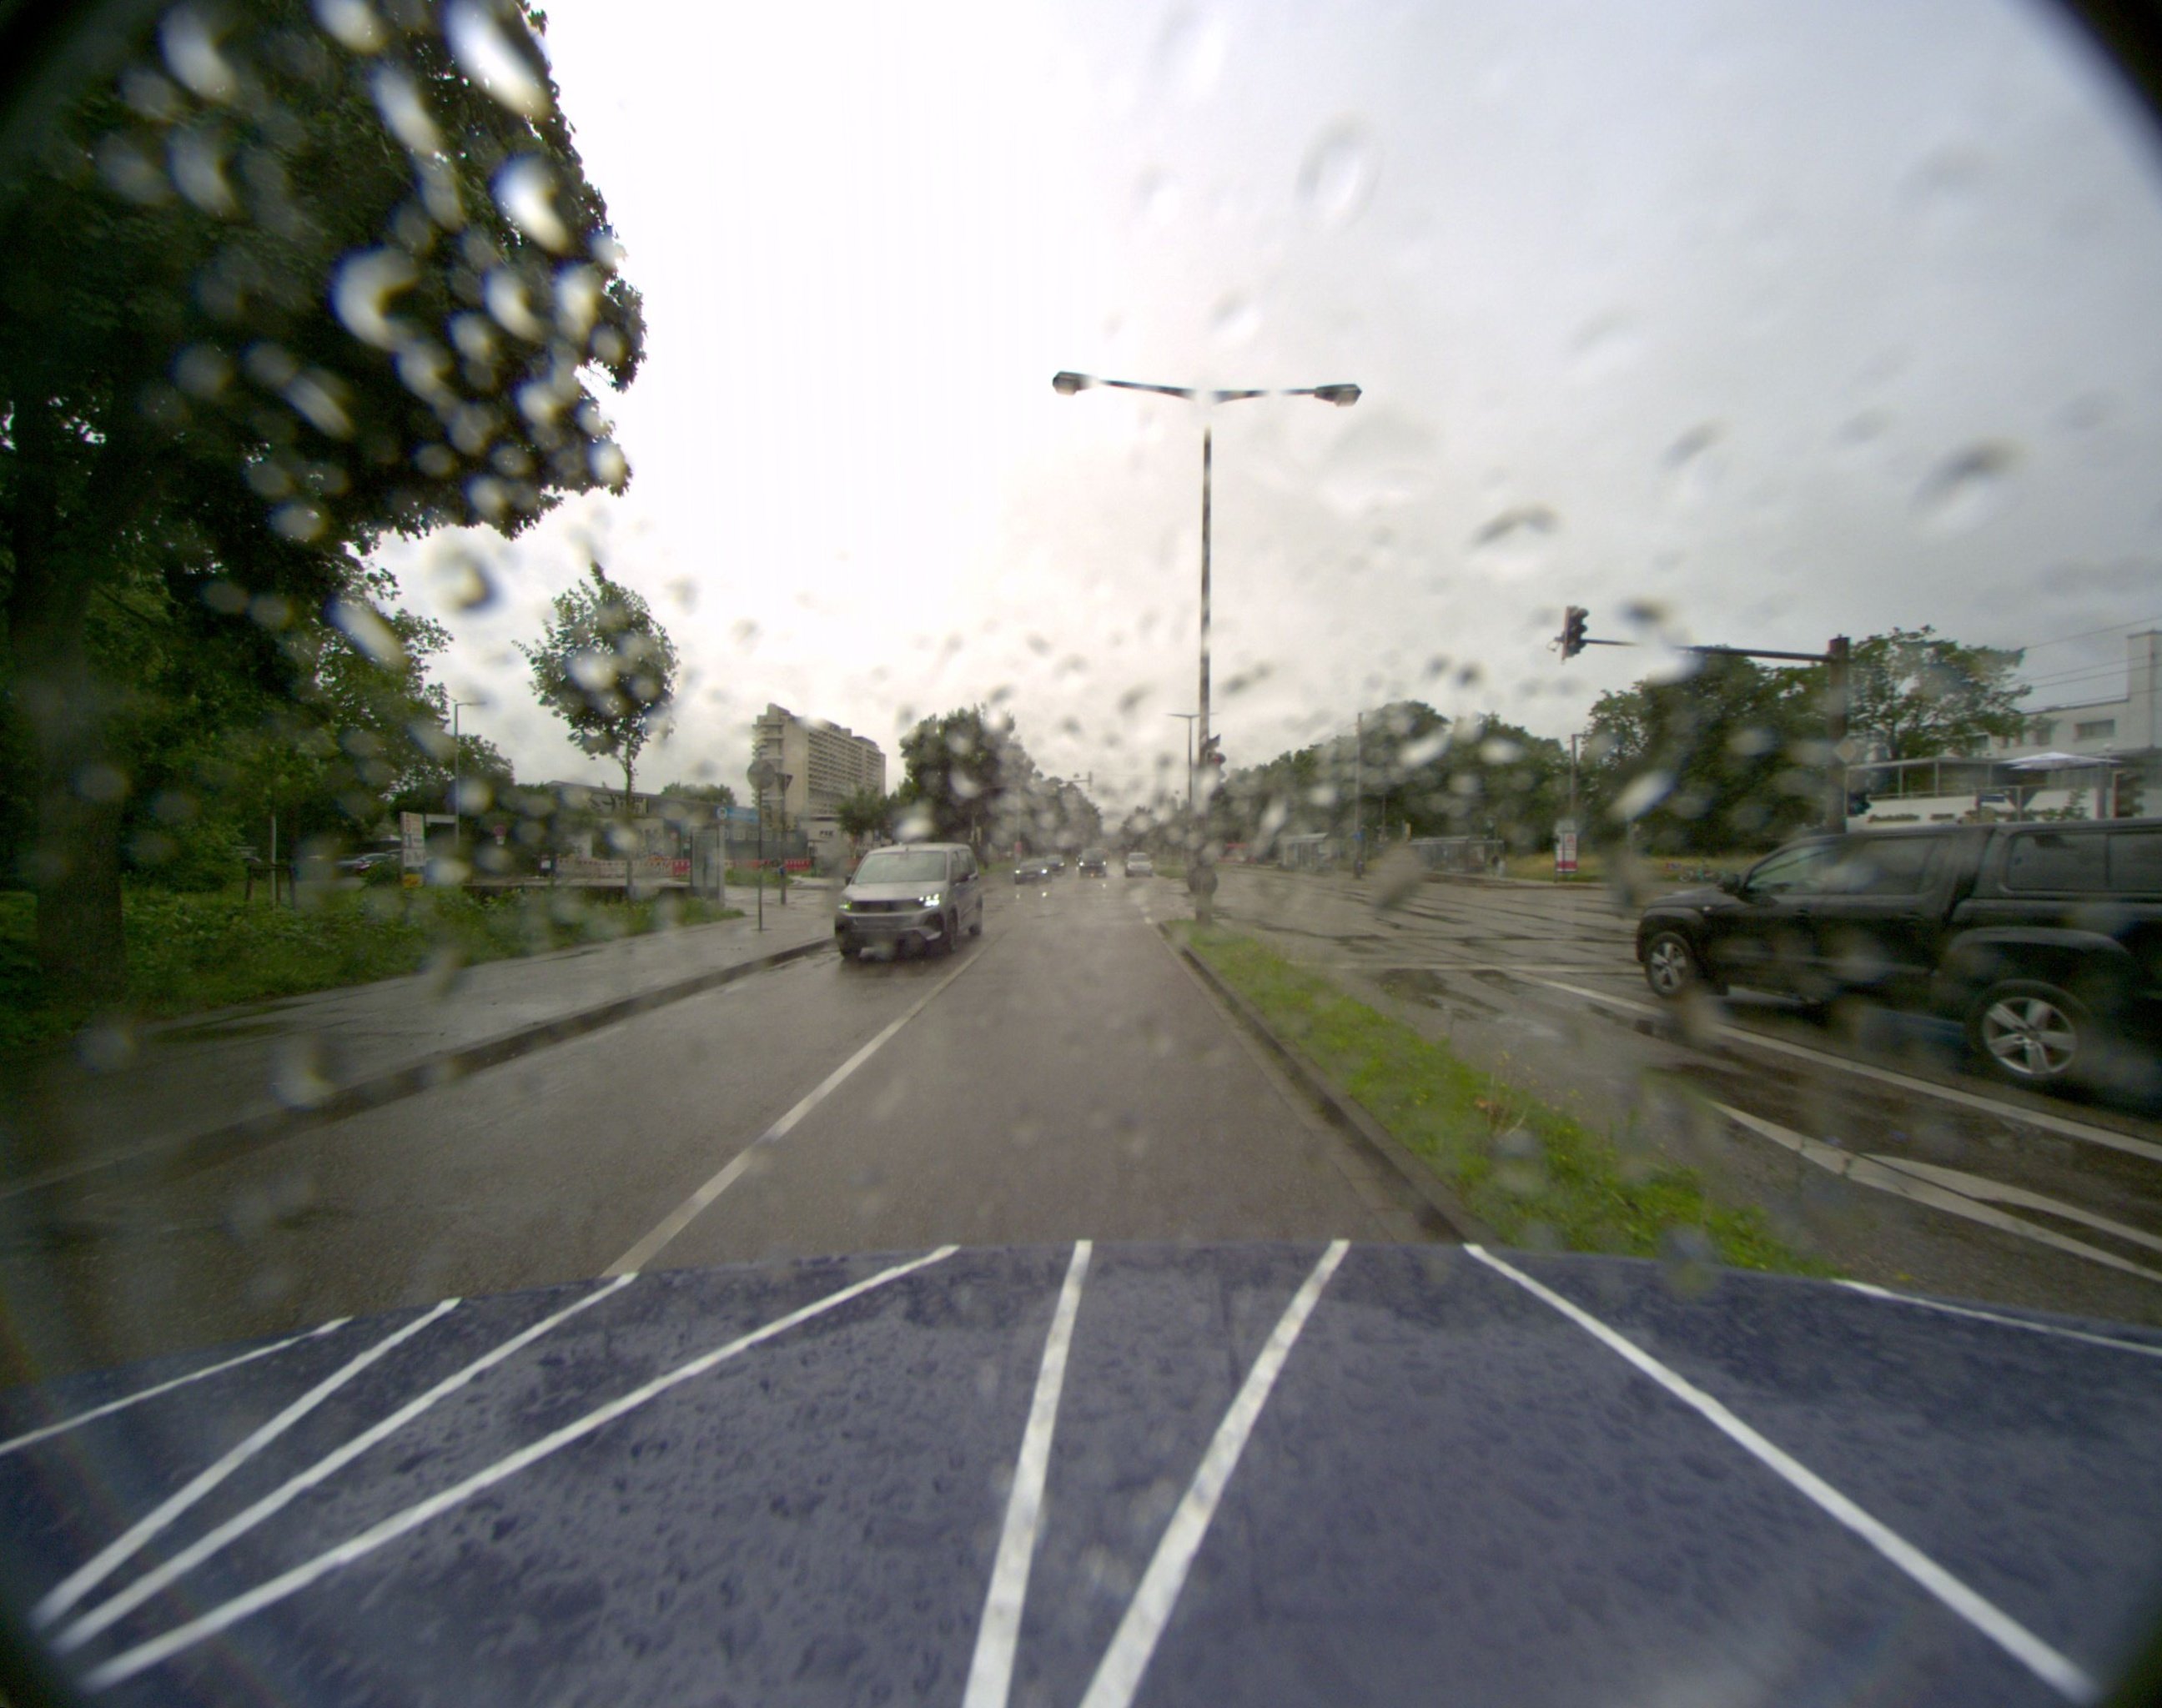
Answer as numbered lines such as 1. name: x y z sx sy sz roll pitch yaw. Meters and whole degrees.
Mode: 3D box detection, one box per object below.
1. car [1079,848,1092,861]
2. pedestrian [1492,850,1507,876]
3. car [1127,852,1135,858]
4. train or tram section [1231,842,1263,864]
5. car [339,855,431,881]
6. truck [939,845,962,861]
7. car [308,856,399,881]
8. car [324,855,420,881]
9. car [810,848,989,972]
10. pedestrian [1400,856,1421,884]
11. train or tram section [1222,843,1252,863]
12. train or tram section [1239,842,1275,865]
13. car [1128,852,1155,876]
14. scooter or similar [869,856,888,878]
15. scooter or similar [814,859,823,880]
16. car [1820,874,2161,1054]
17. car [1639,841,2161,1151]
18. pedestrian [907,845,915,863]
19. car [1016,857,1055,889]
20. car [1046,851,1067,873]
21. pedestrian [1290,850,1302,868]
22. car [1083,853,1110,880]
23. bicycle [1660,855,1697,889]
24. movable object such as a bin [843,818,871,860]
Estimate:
1. car: 0.647 0.027 105.485 1.726 1.643 3.999 -2 1 1
2. pedestrian: 28.633 0.603 52.023 0.631 1.782 0.681 -2 1 1
3. car: 13.781 0.247 209.875 1.684 1.353 4.251 2 0 0
4. train or tram section: 26.909 -0.183 123.847 3.541 3.370 9.279 0 0 2
5. car: -45.293 0.858 49.517 1.698 1.501 4.006 -1 1 28
6. truck: -25.069 -0.193 146.367 2.811 2.882 8.749 -2 1 1
7. car: -49.059 0.945 51.325 1.698 1.501 4.006 -1 1 28
8. car: -47.009 0.896 50.486 1.802 1.563 4.218 -1 1 28
9. car: -2.959 0.809 13.503 1.998 1.785 4.561 -1 1 0
10. pedestrian: 19.973 0.946 46.059 0.783 1.648 0.803 -2 1 -16
11. train or tram section: 27.258 -0.248 132.964 3.541 3.381 10.261 0 0 2
12. train or tram section: 26.573 -0.122 115.276 3.541 3.370 9.279 0 0 2
13. car: 4.216 0.667 53.230 1.740 1.535 4.013 -1 1 3
14. scooter or similar: -11.494 0.729 43.170 0.959 1.223 0.322 3 1 6
15. scooter or similar: -15.185 0.888 43.980 0.286 1.169 0.560 0 1 8
16. car: 10.062 1.011 7.445 1.645 1.419 3.999 2 1 -1
17. car: 7.094 0.818 5.894 1.810 1.763 5.089 1 0 1
18. pedestrian: -18.413 -0.013 82.087 0.580 1.885 0.876 -2 1 1
19. car: -2.484 1.006 42.573 1.858 1.583 3.999 -2 1 1
20. car: -1.963 0.607 61.845 1.651 1.652 3.776 -2 1 -1
21. pedestrian: 19.192 0.405 67.852 0.806 1.588 0.929 0 1 5
22. car: 1.111 0.861 54.230 1.812 1.683 3.777 -2 1 2
23. bicycle: 31.689 0.949 40.306 0.641 1.751 1.735 0 1 3
24. movable object such as a bin: -24.454 -1.666 83.241 1.557 4.401 3.909 -2 1 3
